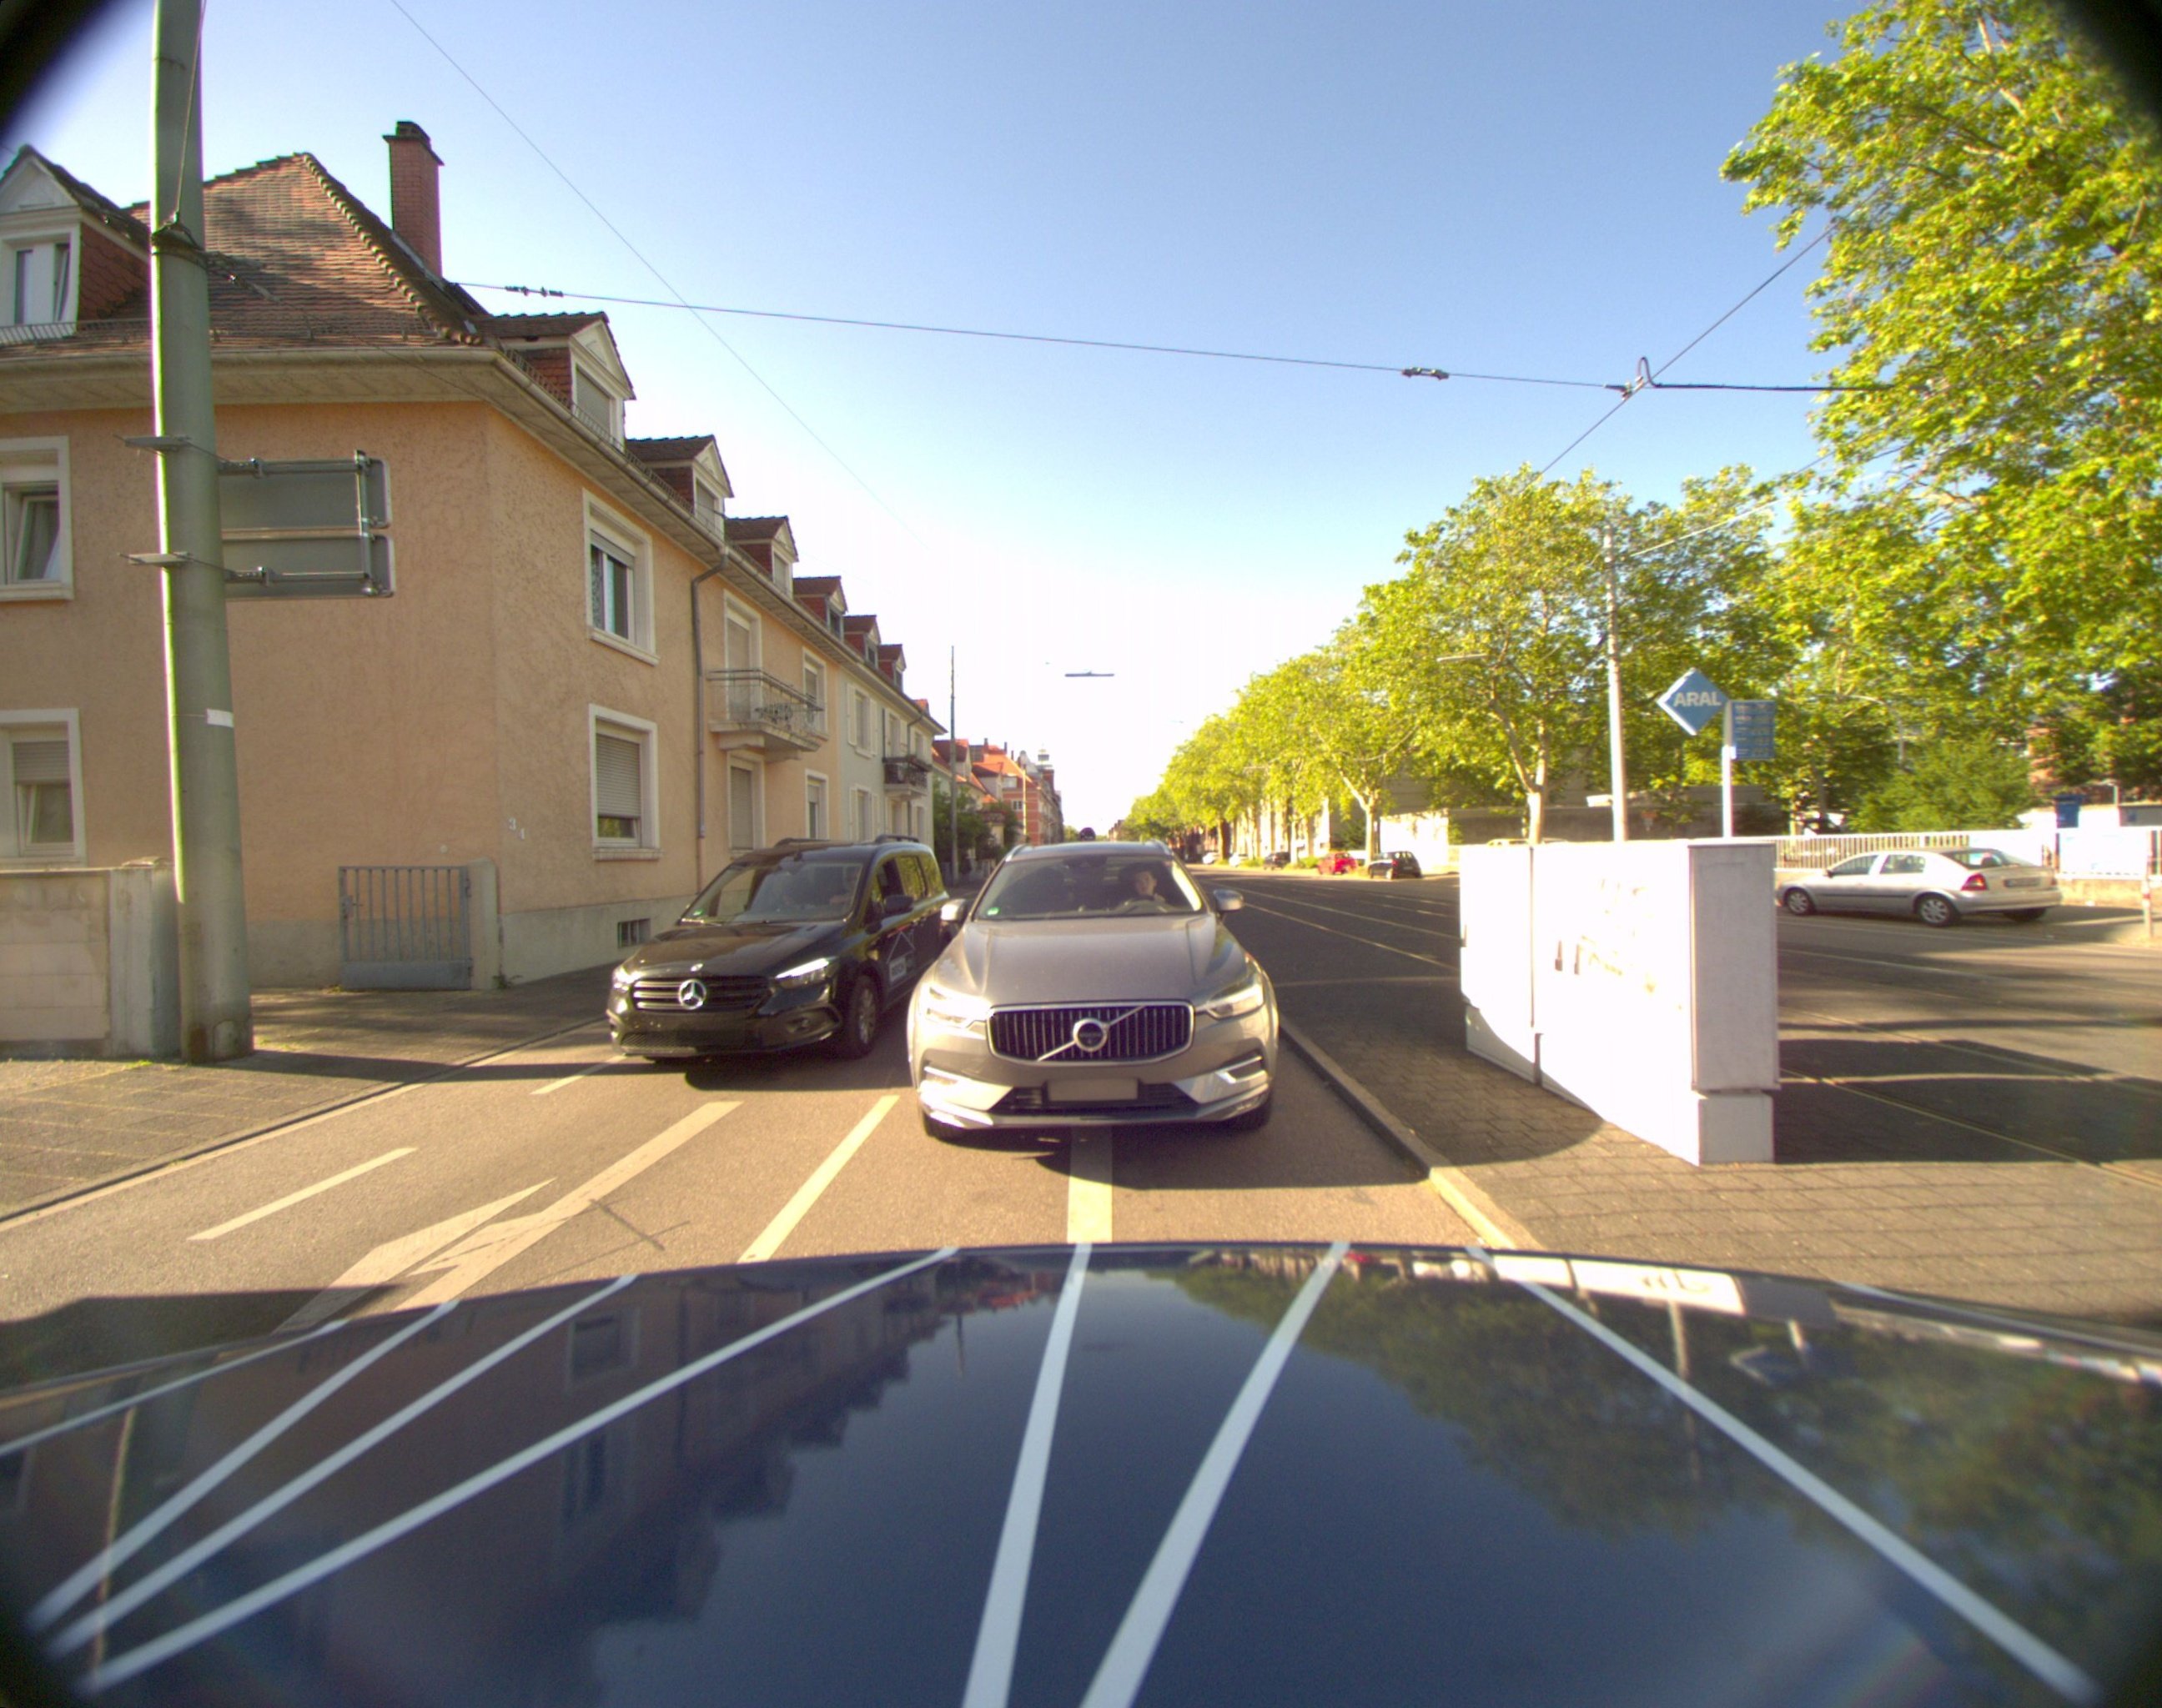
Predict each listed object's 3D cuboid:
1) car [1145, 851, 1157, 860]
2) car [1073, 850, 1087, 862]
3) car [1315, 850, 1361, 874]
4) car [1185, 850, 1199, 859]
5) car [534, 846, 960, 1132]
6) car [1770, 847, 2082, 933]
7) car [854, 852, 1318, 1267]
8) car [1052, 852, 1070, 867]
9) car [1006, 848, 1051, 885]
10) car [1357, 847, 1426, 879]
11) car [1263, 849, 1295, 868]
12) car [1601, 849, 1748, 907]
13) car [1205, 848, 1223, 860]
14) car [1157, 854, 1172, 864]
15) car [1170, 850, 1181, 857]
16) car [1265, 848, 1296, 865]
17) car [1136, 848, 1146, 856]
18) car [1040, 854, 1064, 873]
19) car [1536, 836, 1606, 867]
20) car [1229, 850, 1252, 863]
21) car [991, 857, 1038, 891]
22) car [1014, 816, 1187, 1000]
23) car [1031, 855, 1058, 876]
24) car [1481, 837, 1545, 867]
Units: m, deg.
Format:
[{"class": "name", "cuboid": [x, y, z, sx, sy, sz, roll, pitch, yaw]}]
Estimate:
[{"class": "car", "cuboid": [13.547, 0.329, 147.496, 1.700, 1.412, 3.999, 11, 1, 1]}, {"class": "car", "cuboid": [-0.181, 0.281, 106.473, 1.841, 1.449, 3.999, -2, 1, 1]}, {"class": "car", "cuboid": [16.989, 0.489, 50.415, 1.700, 1.460, 3.999, -1, 1, 1]}, {"class": "car", "cuboid": [18.308, 0.033, 125.547, 1.700, 1.401, 3.999, -1, 1, 1]}, {"class": "car", "cuboid": [-2.545, 0.856, 7.316, 1.866, 1.794, 4.778, -2, 1, 1]}, {"class": "car", "cuboid": [16.266, 0.597, 14.992, 1.731, 1.412, 3.999, -2, 1, 1]}, {"class": "car", "cuboid": [0.030, 0.870, 5.612, 1.912, 1.666, 4.763, -2, 1, 0]}, {"class": "car", "cuboid": [-2.201, 0.592, 85.420, 1.841, 1.449, 3.999, -2, 1, 1]}, {"class": "car", "cuboid": [-2.909, 0.636, 43.807, 1.937, 1.888, 7.210, -2, 1, 1]}, {"class": "car", "cuboid": [16.774, 0.448, 41.225, 1.753, 1.514, 4.434, -5, 1, -1]}, {"class": "car", "cuboid": [17.151, 0.324, 65.981, 1.700, 1.566, 3.999, -1, 1, 1]}, {"class": "car", "cuboid": [16.394, 0.607, 21.179, 1.546, 1.412, 3.254, -2, 1, 1]}, {"class": "car", "cuboid": [17.643, 0.015, 100.770, 1.700, 1.548, 3.999, -1, 1, 1]}, {"class": "car", "cuboid": [13.494, 0.756, 123.132, 1.912, 1.514, 4.763, 0, 1, 0]}, {"class": "car", "cuboid": [18.558, -0.060, 149.318, 1.700, 1.401, 3.999, -1, 1, 1]}, {"class": "car", "cuboid": [17.269, 0.231, 65.900, 1.700, 1.401, 3.999, -1, 1, 1]}, {"class": "car", "cuboid": [14.391, -0.526, 181.720, 1.850, 1.835, 4.394, -1, 1, -1]}, {"class": "car", "cuboid": [-2.548, 0.810, 66.982, 1.841, 1.449, 3.999, -2, 1, 1]}, {"class": "car", "cuboid": [24.269, -0.150, 37.753, 1.545, 1.412, 3.151, -2, 1, 4]}, {"class": "car", "cuboid": [17.498, 0.256, 83.508, 1.700, 1.401, 3.999, -1, 1, 1]}, {"class": "car", "cuboid": [-3.188, 0.931, 36.998, 1.841, 1.449, 3.999, -2, 1, 1]}, {"class": "car", "cuboid": [0.229, 0.598, 11.107, 1.912, 2.048, 4.763, -2, 1, 0]}, {"class": "car", "cuboid": [-2.842, 0.892, 60.573, 1.841, 1.449, 3.999, -2, 1, 1]}, {"class": "car", "cuboid": [21.703, -0.111, 38.273, 1.545, 1.412, 3.151, -2, 1, 4]}]
